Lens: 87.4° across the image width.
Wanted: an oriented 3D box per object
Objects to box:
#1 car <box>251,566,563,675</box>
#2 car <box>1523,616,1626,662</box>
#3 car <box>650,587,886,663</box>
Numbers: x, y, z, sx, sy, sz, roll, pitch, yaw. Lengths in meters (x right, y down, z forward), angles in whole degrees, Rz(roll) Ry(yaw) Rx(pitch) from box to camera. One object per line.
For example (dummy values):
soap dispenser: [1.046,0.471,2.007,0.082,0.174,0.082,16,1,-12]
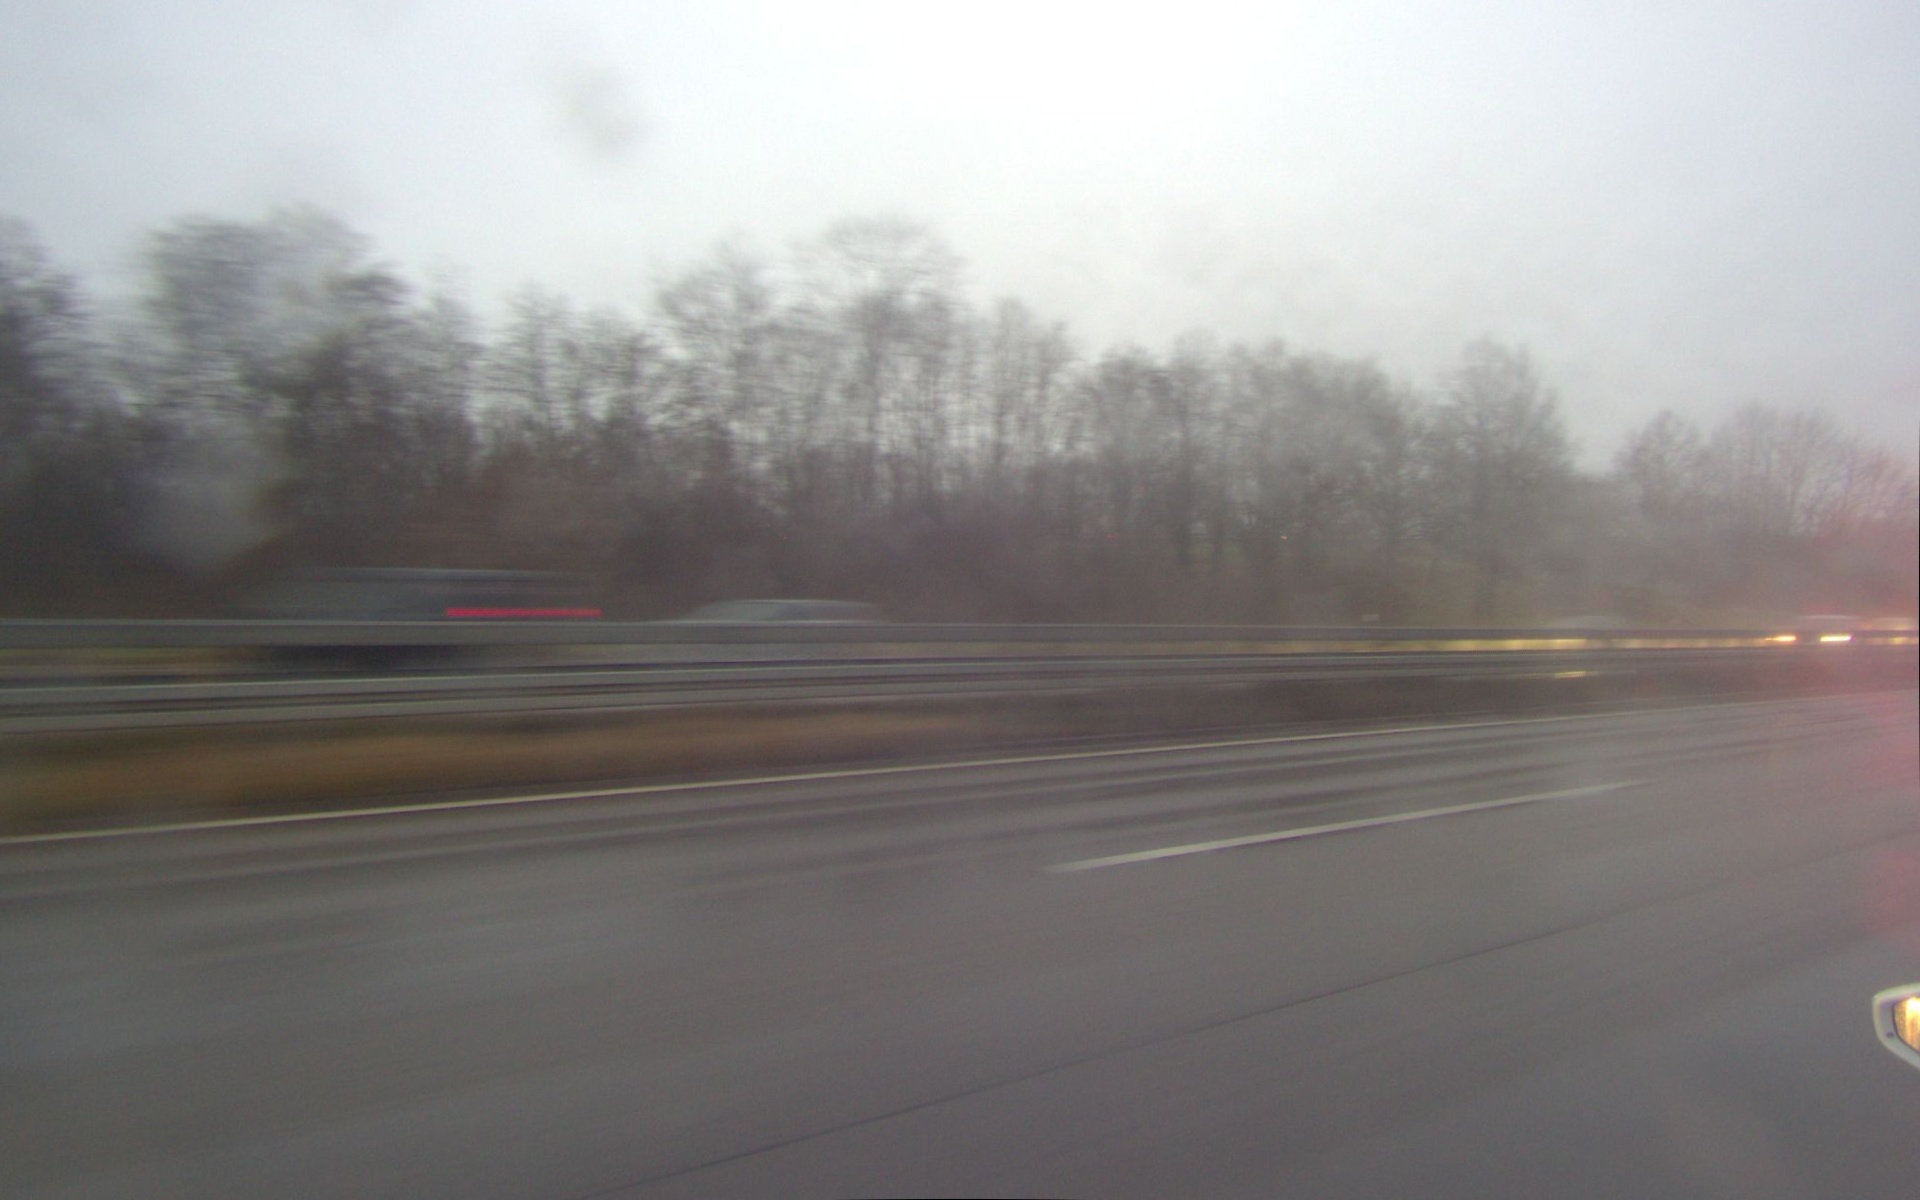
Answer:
car: [-8.014,0.321,14.795,3.800,1.394,1.566,3,1,-31]
car: [23.910,1.524,39.059,4.156,1.657,1.675,2,-1,-31]
car: [-4.081,0.560,21.681,4.730,1.394,1.566,3,0,-32]
